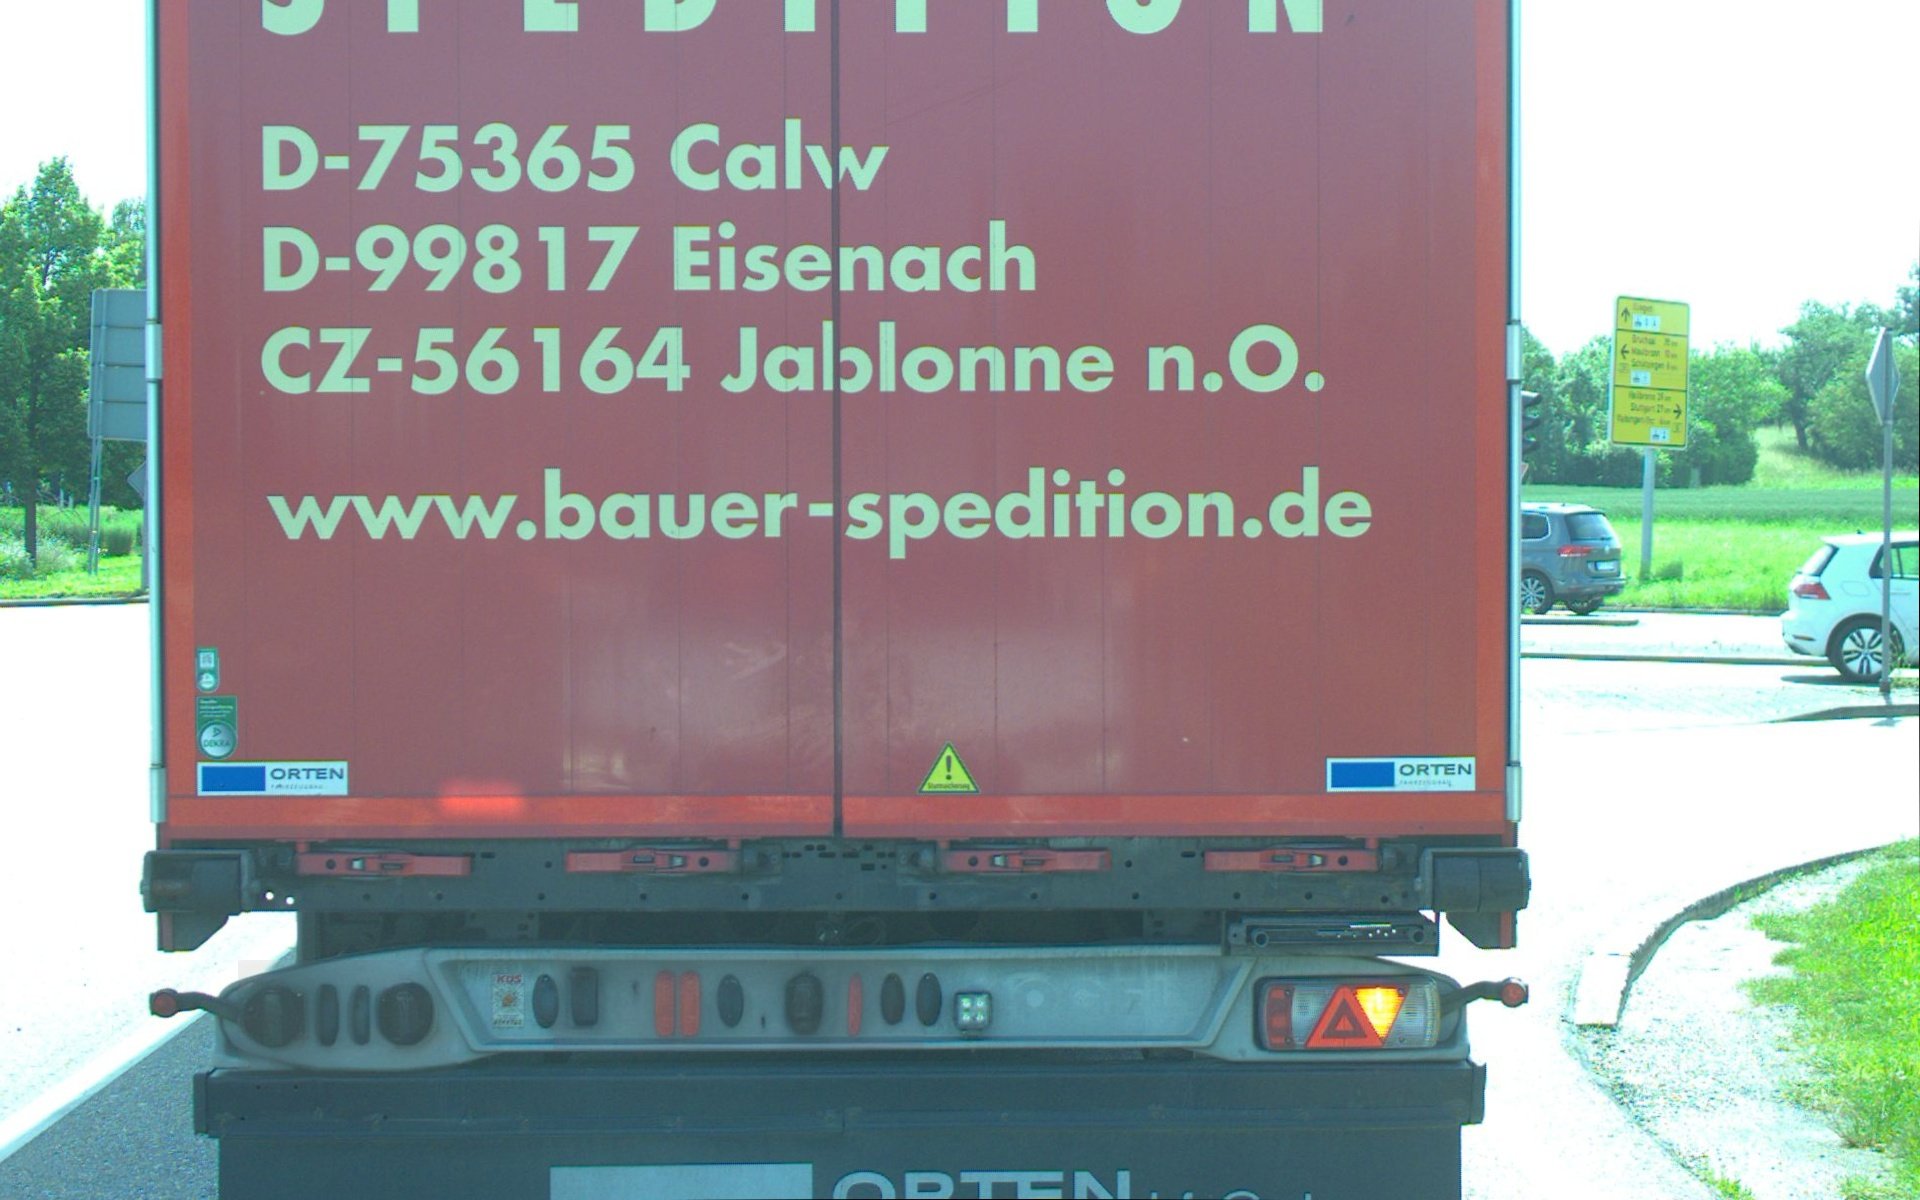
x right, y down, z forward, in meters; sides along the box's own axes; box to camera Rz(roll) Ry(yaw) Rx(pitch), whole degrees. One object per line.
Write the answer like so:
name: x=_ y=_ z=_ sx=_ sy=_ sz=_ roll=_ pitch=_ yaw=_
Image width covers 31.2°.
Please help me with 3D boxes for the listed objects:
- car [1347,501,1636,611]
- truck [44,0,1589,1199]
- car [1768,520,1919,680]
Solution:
car: x=8.024 y=-0.691 z=52.044 sx=3.995 sy=1.590 sz=1.661 roll=1 pitch=1 yaw=36
truck: x=-0.383 y=-0.798 z=14.419 sx=2.734 sy=3.911 sz=16.627 roll=0 pitch=1 yaw=-1
car: x=10.037 y=0.005 z=33.291 sx=4.248 sy=1.456 sz=1.809 roll=1 pitch=3 yaw=12
